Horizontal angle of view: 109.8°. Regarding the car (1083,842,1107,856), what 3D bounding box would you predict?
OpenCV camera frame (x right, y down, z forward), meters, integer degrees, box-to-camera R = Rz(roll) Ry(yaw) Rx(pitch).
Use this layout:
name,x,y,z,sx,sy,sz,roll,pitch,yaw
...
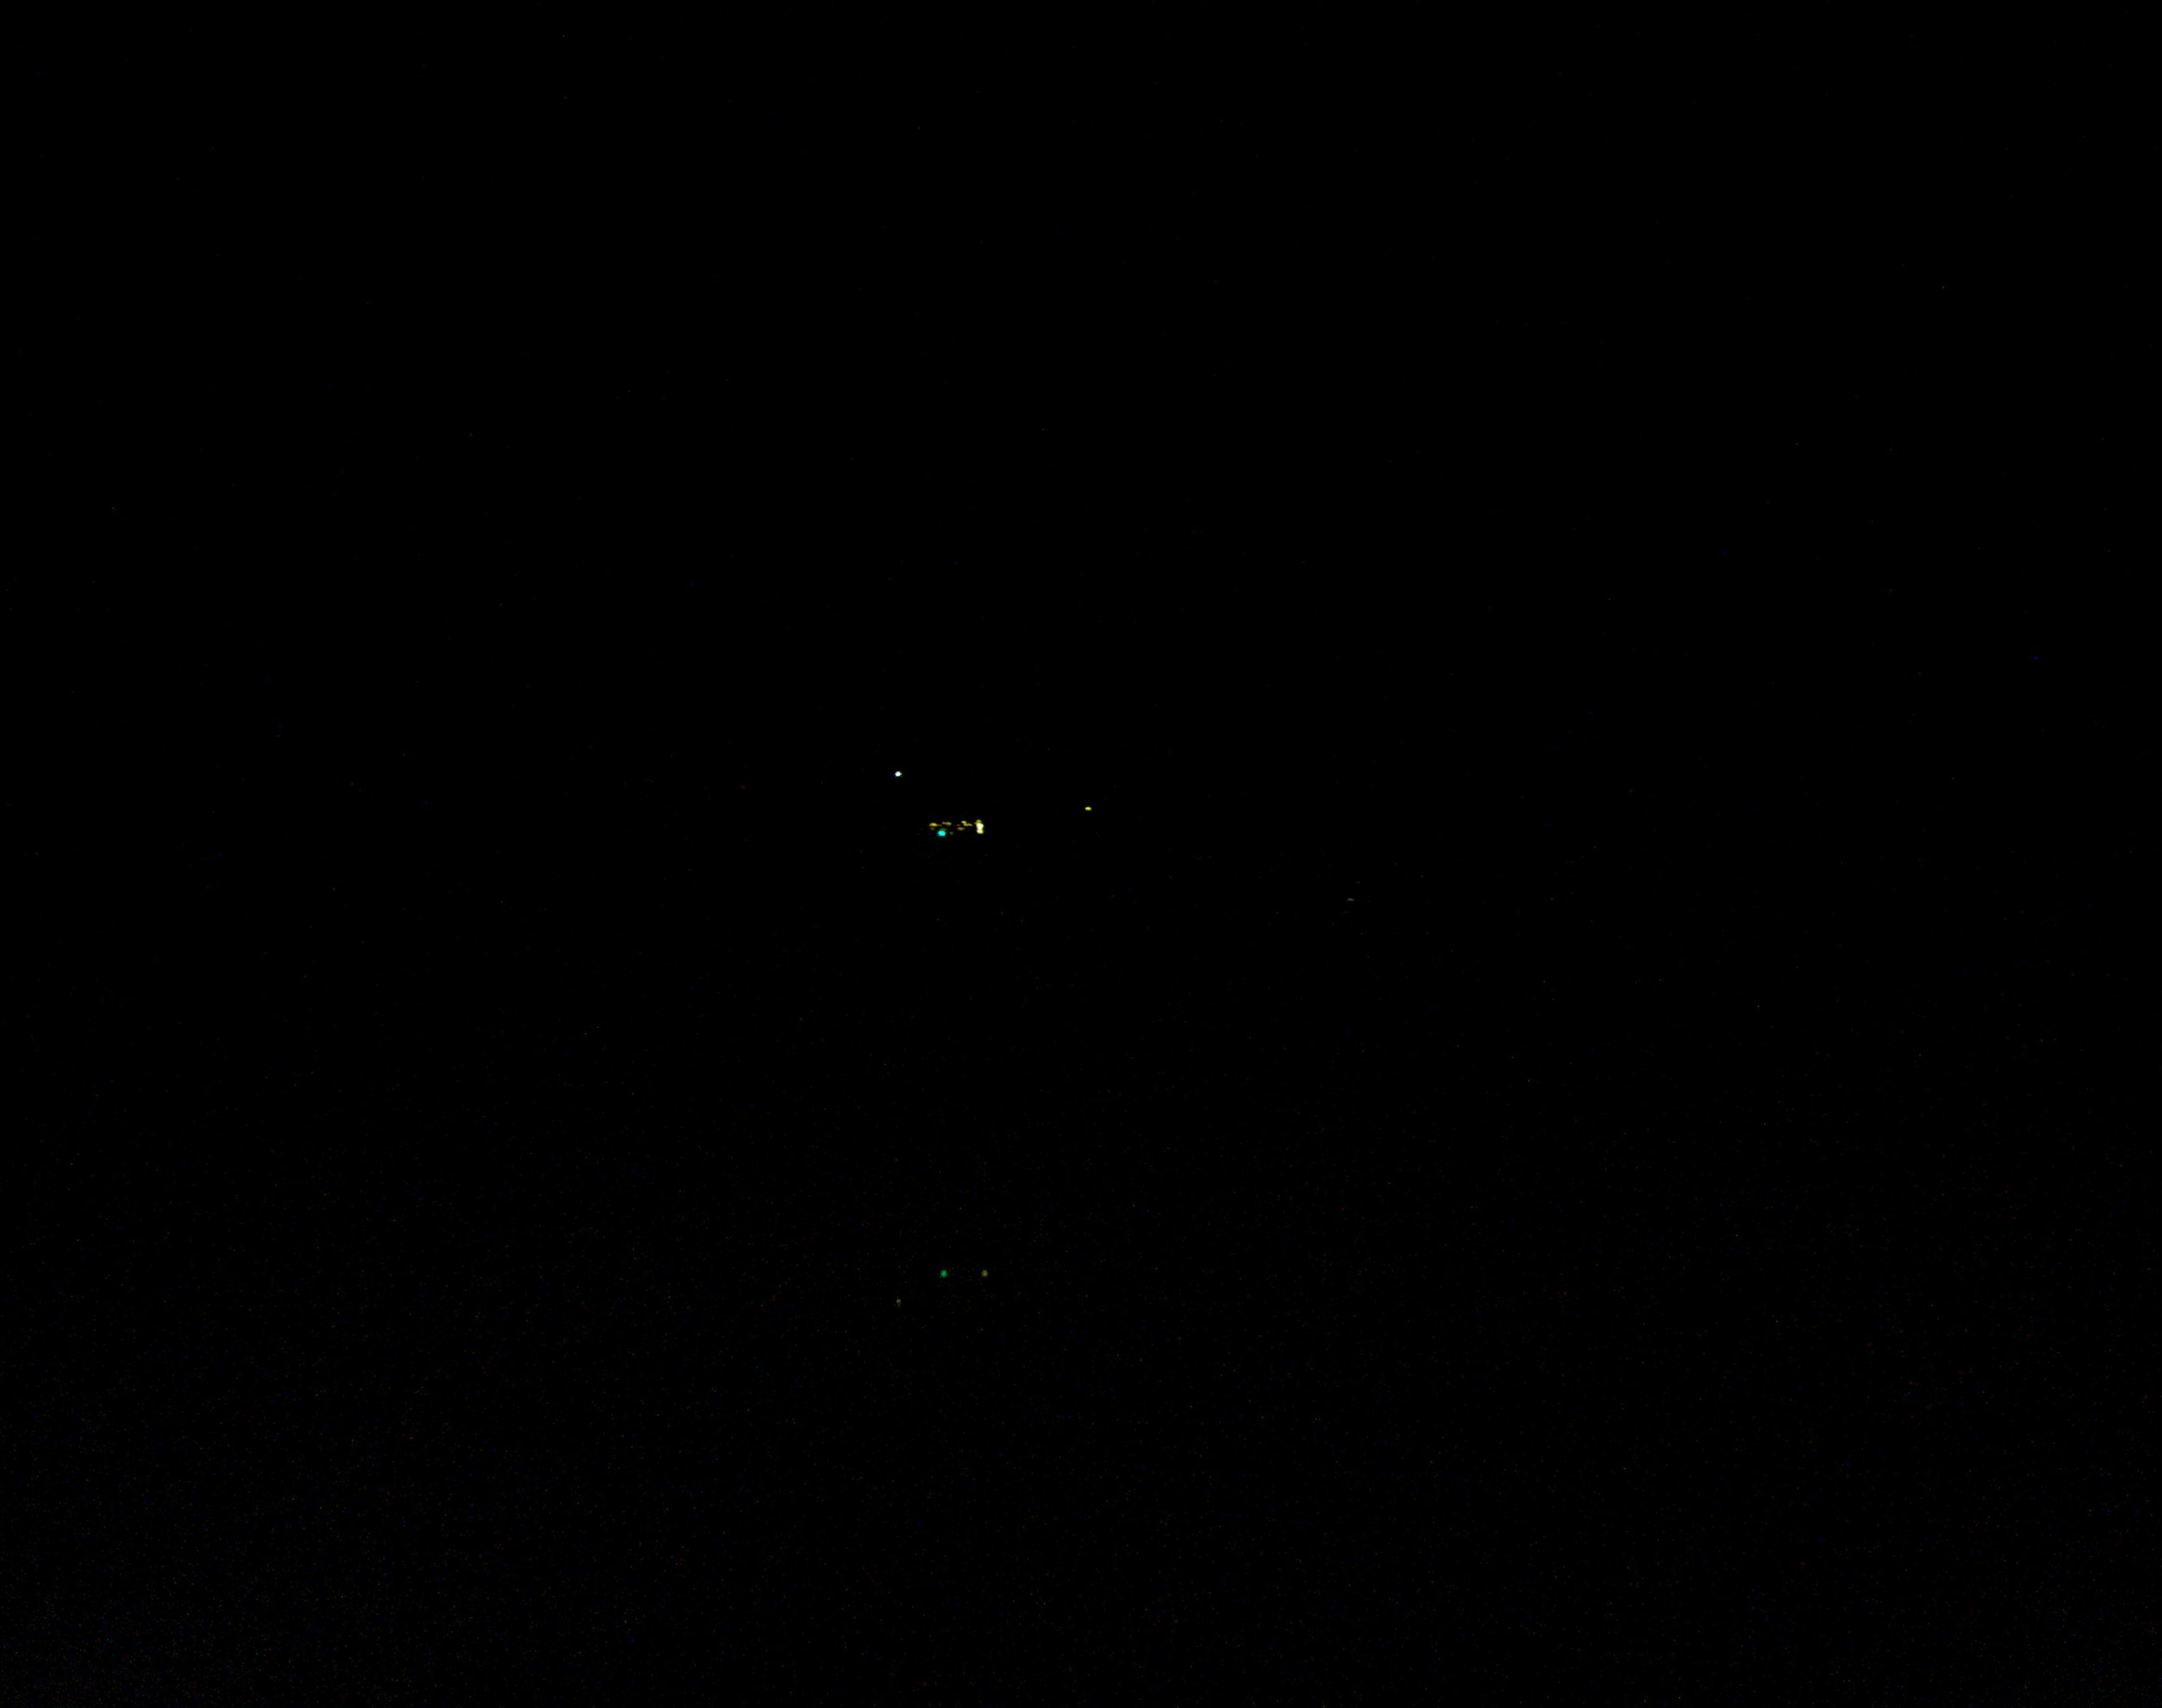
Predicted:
name,x,y,z,sx,sy,sz,roll,pitch,yaw
car,1.490,-0.563,82.877,1.734,1.357,4.139,2,2,-12

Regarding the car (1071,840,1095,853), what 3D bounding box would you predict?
name,x,y,z,sx,sy,sz,roll,pitch,yaw
car,0.173,-0.910,89.116,1.907,1.357,4.977,2,2,-10

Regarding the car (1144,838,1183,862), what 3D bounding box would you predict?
name,x,y,z,sx,sy,sz,roll,pitch,yaw
car,6.280,-0.340,58.263,1.723,1.568,4.529,3,2,-10

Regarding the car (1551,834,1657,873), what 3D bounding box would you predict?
name,x,y,z,sx,sy,sz,roll,pitch,yaw
car,24.500,-0.058,35.674,4.000,1.600,1.755,-2,3,-9

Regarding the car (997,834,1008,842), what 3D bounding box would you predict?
name,x,y,z,sx,sy,sz,roll,pitch,yaw
car,-17.387,-3.581,167.750,2.127,1.761,4.714,2,2,-10

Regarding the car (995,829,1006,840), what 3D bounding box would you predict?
name,x,y,z,sx,sy,sz,roll,pitch,yaw
car,-19.185,-4.645,181.260,2.167,2.499,4.714,2,2,-10

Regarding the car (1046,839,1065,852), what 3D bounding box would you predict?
name,x,y,z,sx,sy,sz,roll,pitch,yaw
car,-3.627,-1.220,107.868,1.770,1.559,4.687,3,1,-12

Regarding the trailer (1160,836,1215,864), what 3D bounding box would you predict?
name,x,y,z,sx,sy,sz,roll,pitch,yaw
trailer,7.372,-0.342,53.200,2.031,1.771,5.666,1,1,-11

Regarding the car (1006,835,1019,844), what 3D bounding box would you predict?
name,x,y,z,sx,sy,sz,roll,pitch,yaw
car,-13.997,-2.998,155.108,2.127,1.761,4.714,2,2,-10
